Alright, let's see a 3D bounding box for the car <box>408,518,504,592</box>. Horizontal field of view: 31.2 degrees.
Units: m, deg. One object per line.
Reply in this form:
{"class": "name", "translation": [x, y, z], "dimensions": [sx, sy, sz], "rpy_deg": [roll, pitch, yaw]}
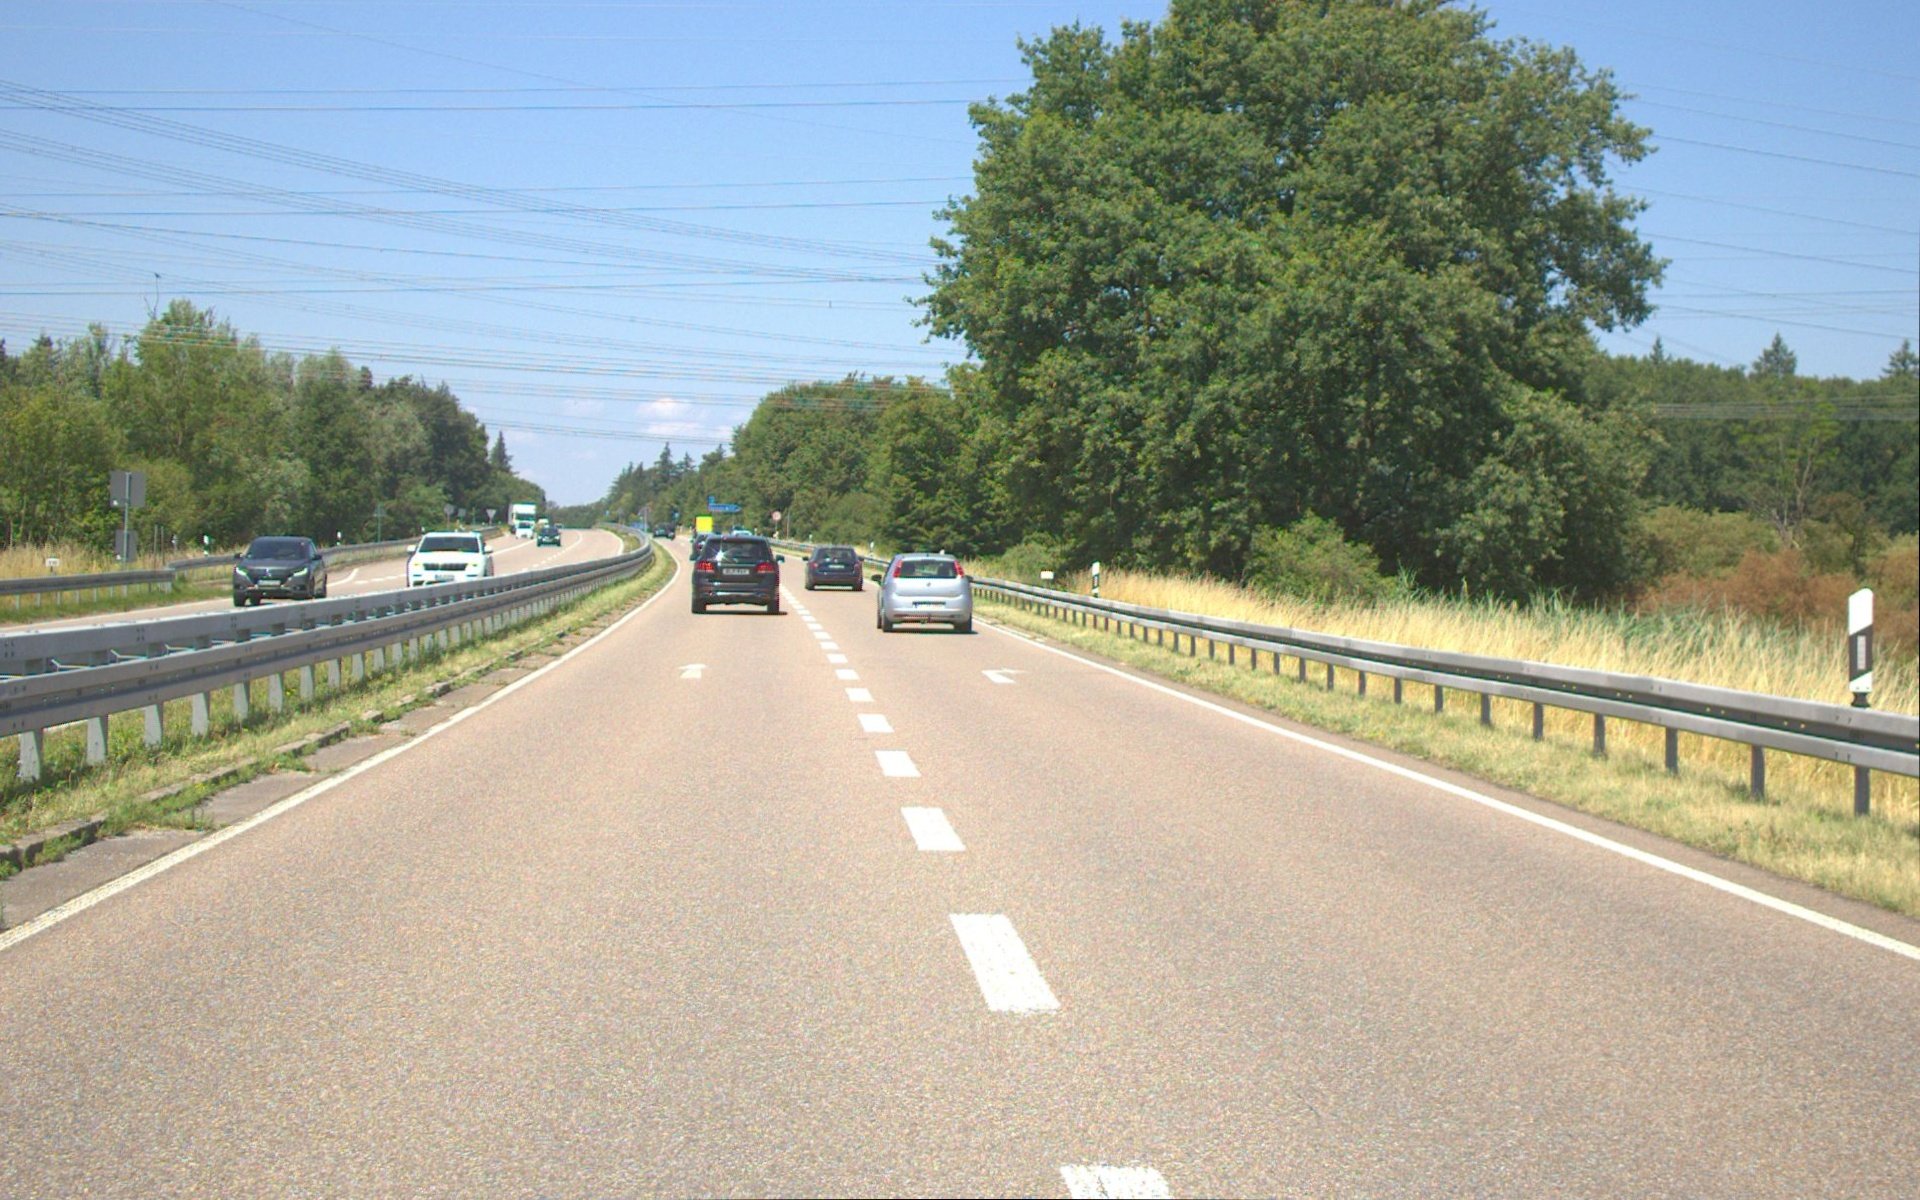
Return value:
{"class": "car", "translation": [-12.848, -1.166, 87.798], "dimensions": [1.979, 1.801, 4.969], "rpy_deg": [1, 1, -3]}

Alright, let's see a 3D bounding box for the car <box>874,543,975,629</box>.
{"class": "car", "translation": [-0.690, -0.284, 64.497], "dimensions": [1.640, 1.463, 3.419], "rpy_deg": [3, 1, -3]}

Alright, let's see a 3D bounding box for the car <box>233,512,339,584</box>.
{"class": "car", "translation": [-15.630, -1.223, 79.868], "dimensions": [1.842, 1.612, 4.171], "rpy_deg": [1, 1, -3]}

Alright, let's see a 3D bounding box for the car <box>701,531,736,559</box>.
{"class": "car", "translation": [-13.579, -3.079, 192.941], "dimensions": [1.712, 1.466, 3.575], "rpy_deg": [3, 1, -6]}

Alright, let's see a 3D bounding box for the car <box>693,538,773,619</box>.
{"class": "car", "translation": [-5.016, -0.492, 76.231], "dimensions": [1.640, 1.648, 3.574], "rpy_deg": [3, 1, -3]}

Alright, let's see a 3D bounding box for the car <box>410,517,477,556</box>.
{"class": "car", "translation": [-18.554, -2.288, 123.720], "dimensions": [1.924, 1.380, 4.658], "rpy_deg": [0, 1, -3]}

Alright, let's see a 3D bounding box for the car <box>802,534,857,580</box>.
{"class": "car", "translation": [-4.212, -1.393, 110.575], "dimensions": [1.640, 1.338, 3.574], "rpy_deg": [3, 1, -3]}
